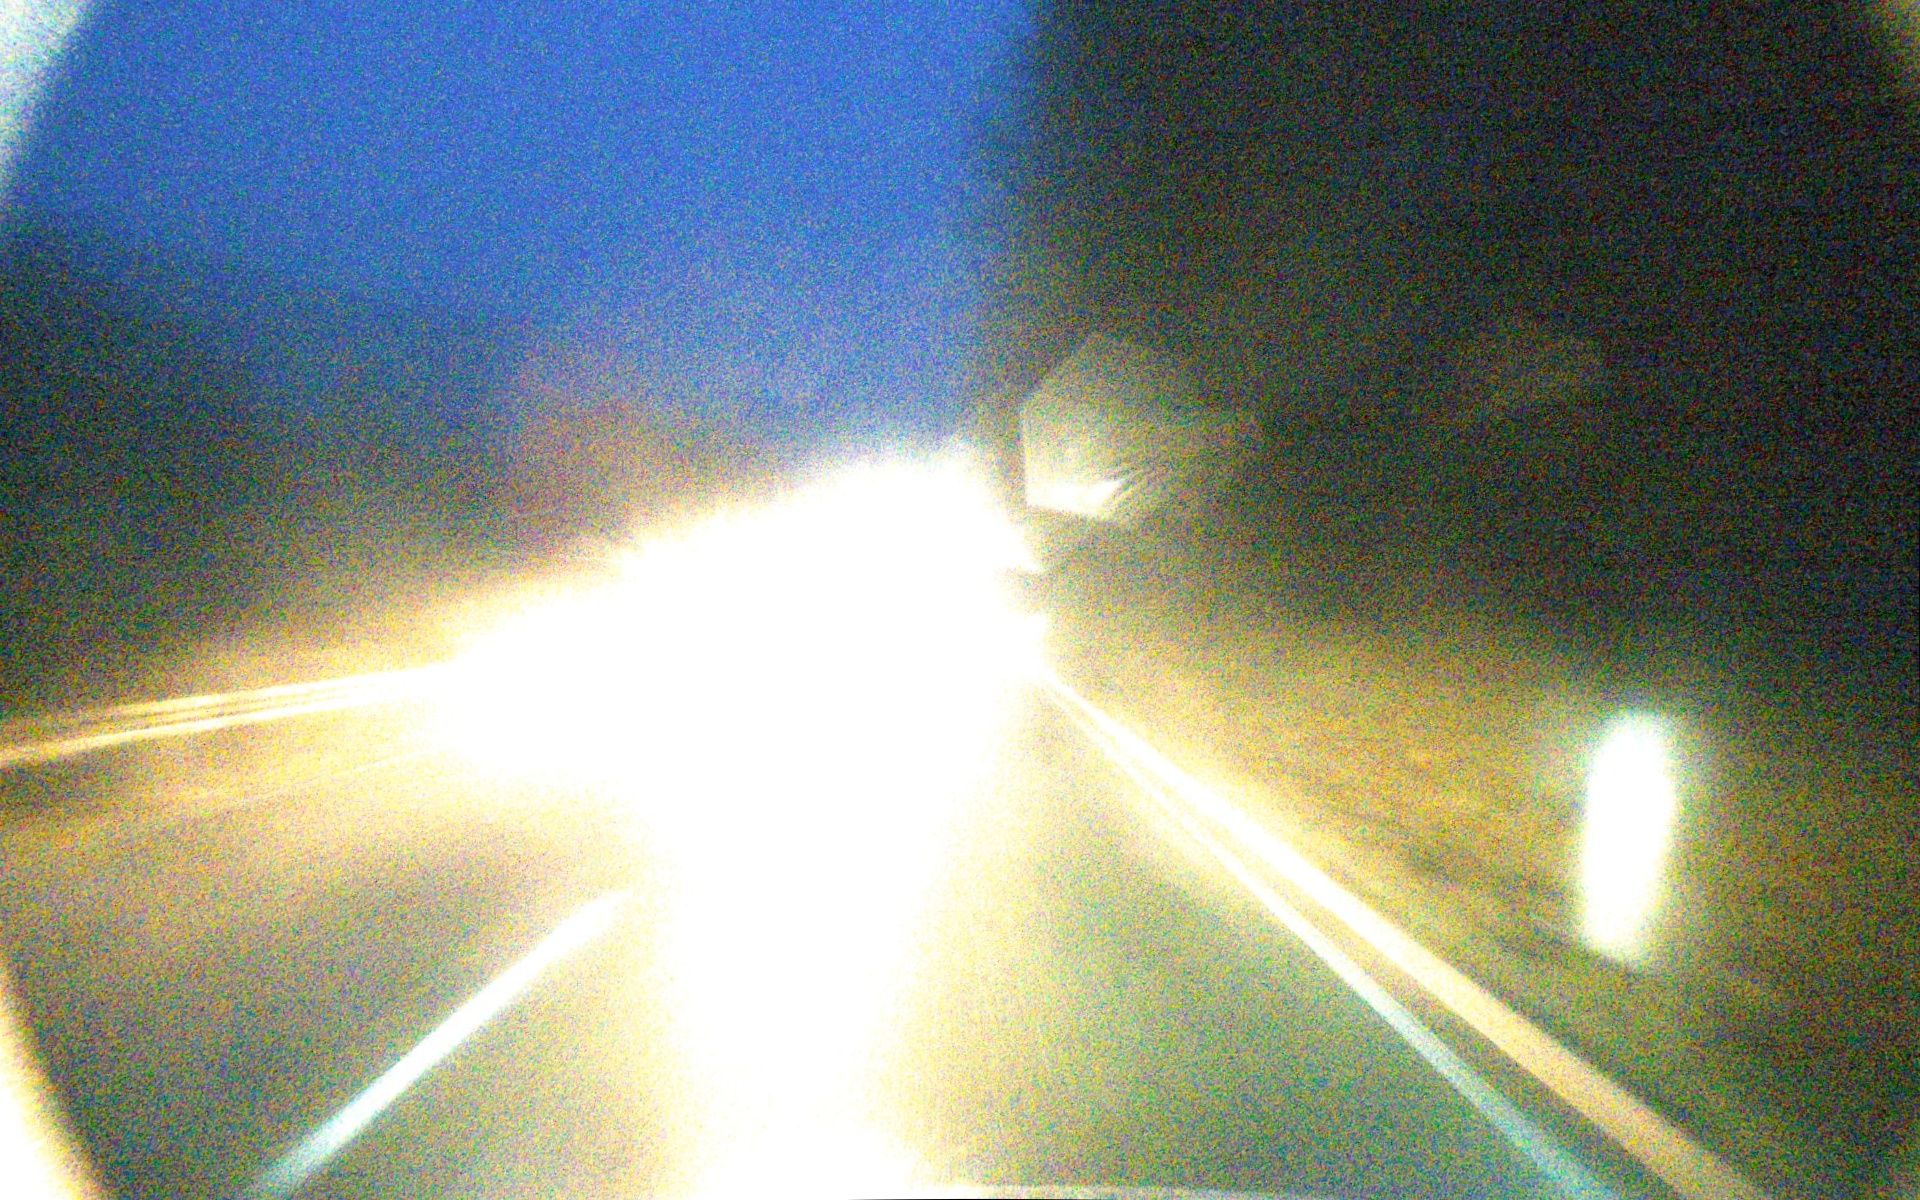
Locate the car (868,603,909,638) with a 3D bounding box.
[{"bbox_3d":[-3.462,0.982,80.590,1.791,1.481,3.793,-2,1,-1],"label":"car"}]

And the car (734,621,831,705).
[{"bbox_3d":[-3.582,1.242,33.909,1.681,1.496,3.707,-1,1,-2],"label":"car"}]
